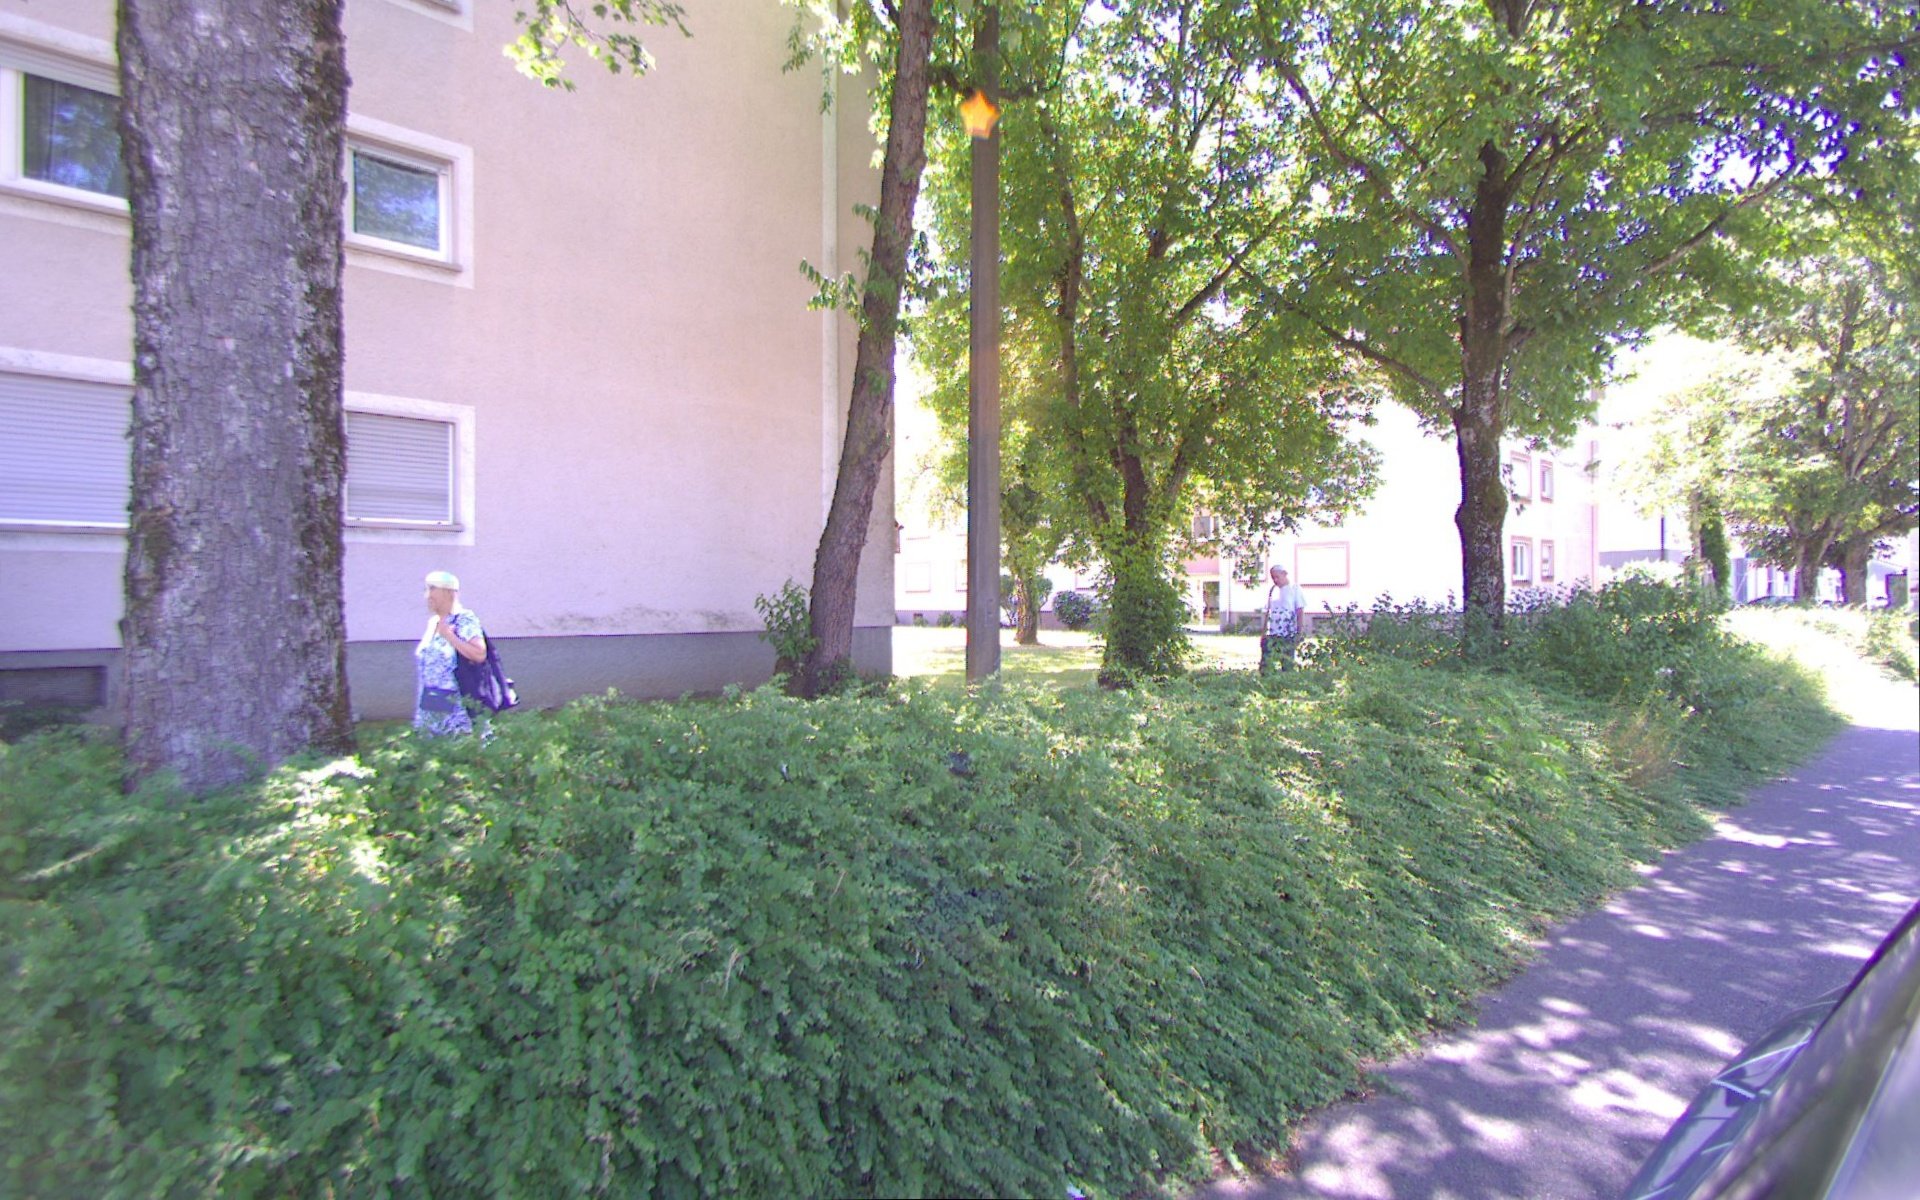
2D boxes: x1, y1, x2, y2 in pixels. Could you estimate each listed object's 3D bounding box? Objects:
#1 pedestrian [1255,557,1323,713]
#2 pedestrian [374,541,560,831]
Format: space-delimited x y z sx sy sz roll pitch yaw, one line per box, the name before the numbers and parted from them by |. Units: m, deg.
pedestrian | 4.198 0.424 12.877 0.667 1.897 0.894 -1 0 27
pedestrian | -3.075 0.484 6.325 0.717 1.654 0.839 0 0 41
